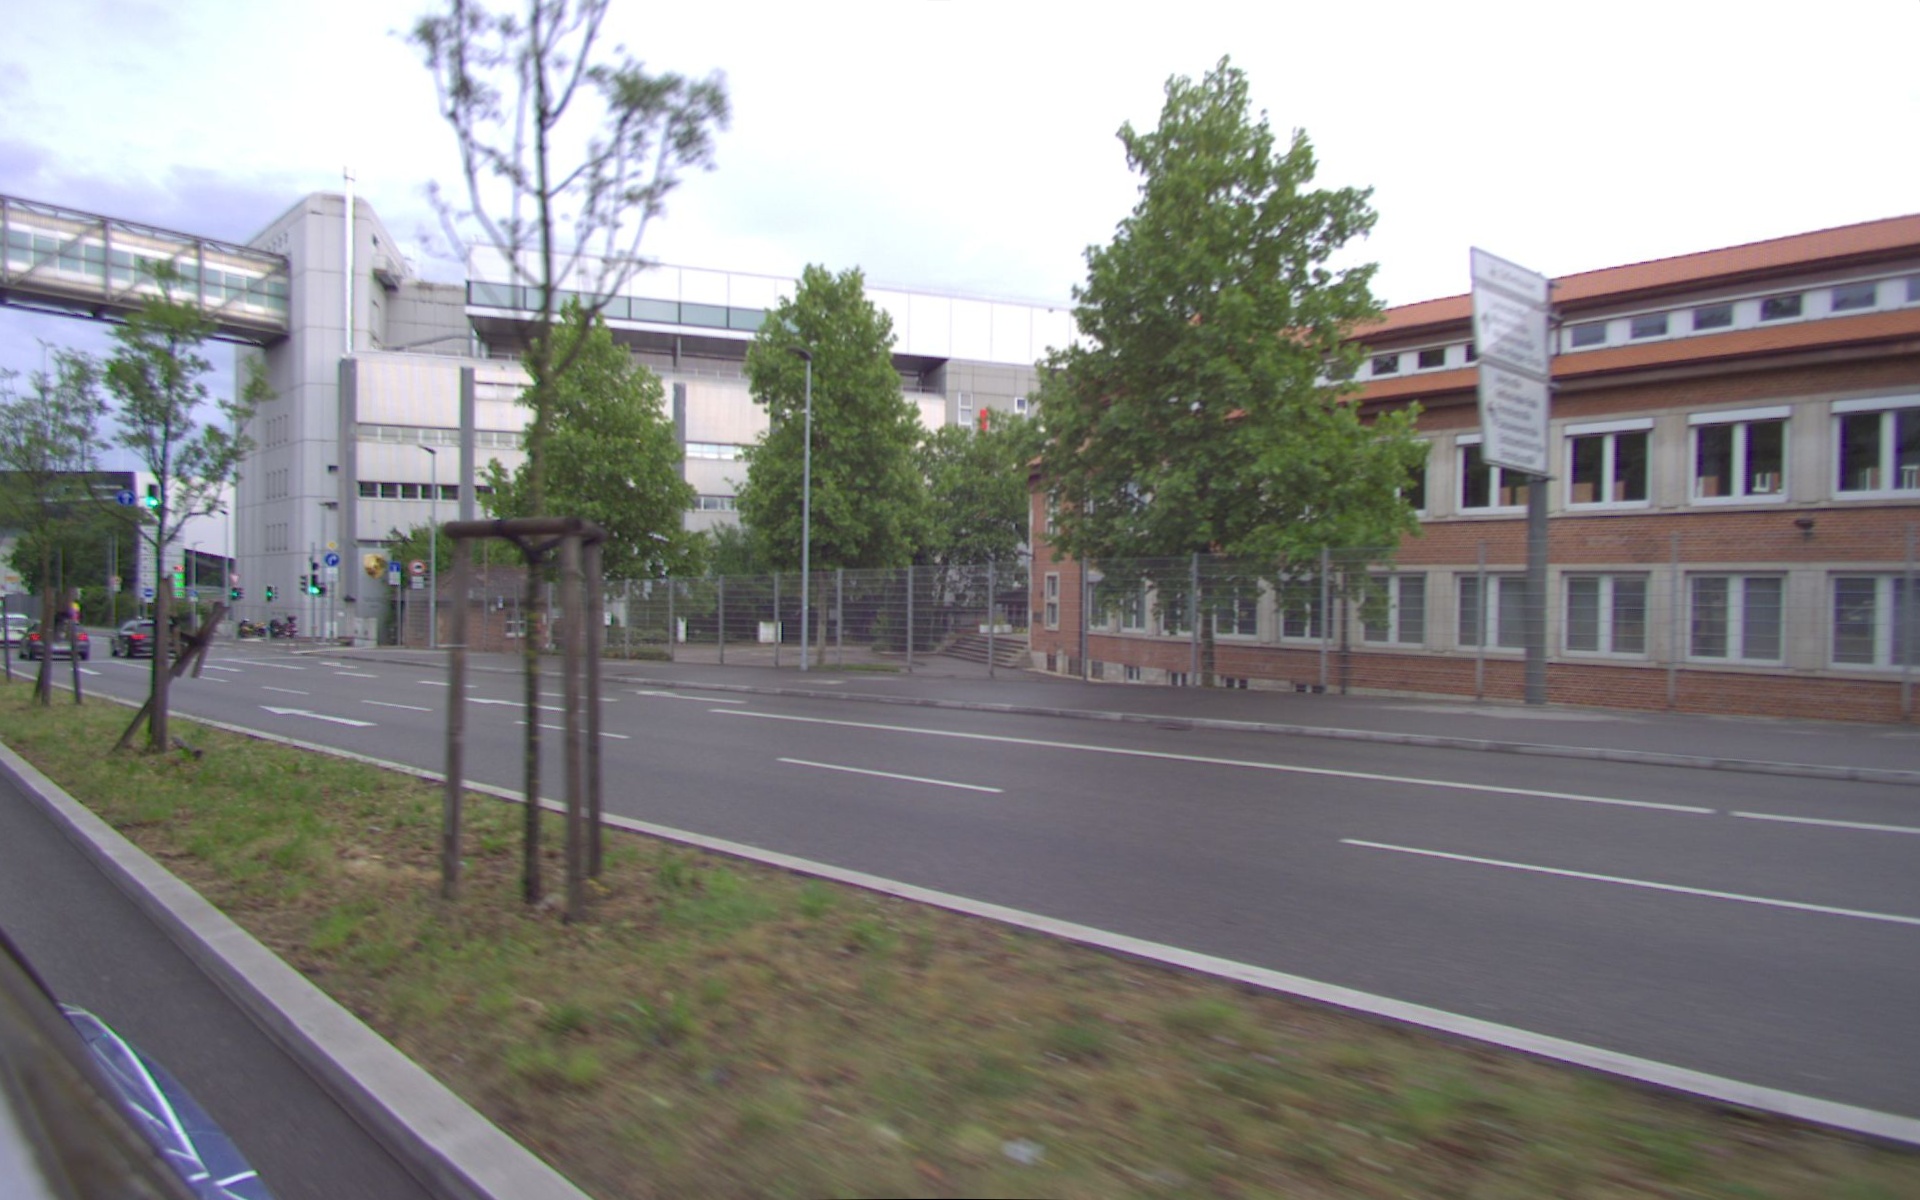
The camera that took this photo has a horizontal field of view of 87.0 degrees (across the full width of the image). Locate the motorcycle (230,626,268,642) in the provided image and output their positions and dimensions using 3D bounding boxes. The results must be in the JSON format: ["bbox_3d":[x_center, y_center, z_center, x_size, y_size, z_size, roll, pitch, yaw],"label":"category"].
[{"bbox_3d":[-46.338,2.202,65.929,2.144,1.035,0.625,0,-1,7],"label":"motorcycle"}]

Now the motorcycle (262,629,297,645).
[{"bbox_3d":[-44.073,2.384,65.574,2.150,1.035,0.624,0,-1,15],"label":"motorcycle"}]

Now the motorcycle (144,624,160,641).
[{"bbox_3d":[-61.765,2.477,77.366,1.967,1.224,0.618,-1,-2,42],"label":"motorcycle"}]

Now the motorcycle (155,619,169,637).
[{"bbox_3d":[-59.371,2.056,75.268,0.617,1.277,2.173,-1,0,-43],"label":"motorcycle"}]

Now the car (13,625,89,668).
[{"bbox_3d":[-32.397,1.610,36.025,4.110,1.414,1.561,-1,-2,42],"label":"car"}]

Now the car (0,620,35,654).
[{"bbox_3d":[-46.520,1.772,49.324,4.485,1.602,1.752,-1,-2,43],"label":"car"}]

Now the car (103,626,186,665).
[{"bbox_3d":[-31.512,1.725,39.076,4.613,1.414,1.754,-1,-2,42],"label":"car"}]
